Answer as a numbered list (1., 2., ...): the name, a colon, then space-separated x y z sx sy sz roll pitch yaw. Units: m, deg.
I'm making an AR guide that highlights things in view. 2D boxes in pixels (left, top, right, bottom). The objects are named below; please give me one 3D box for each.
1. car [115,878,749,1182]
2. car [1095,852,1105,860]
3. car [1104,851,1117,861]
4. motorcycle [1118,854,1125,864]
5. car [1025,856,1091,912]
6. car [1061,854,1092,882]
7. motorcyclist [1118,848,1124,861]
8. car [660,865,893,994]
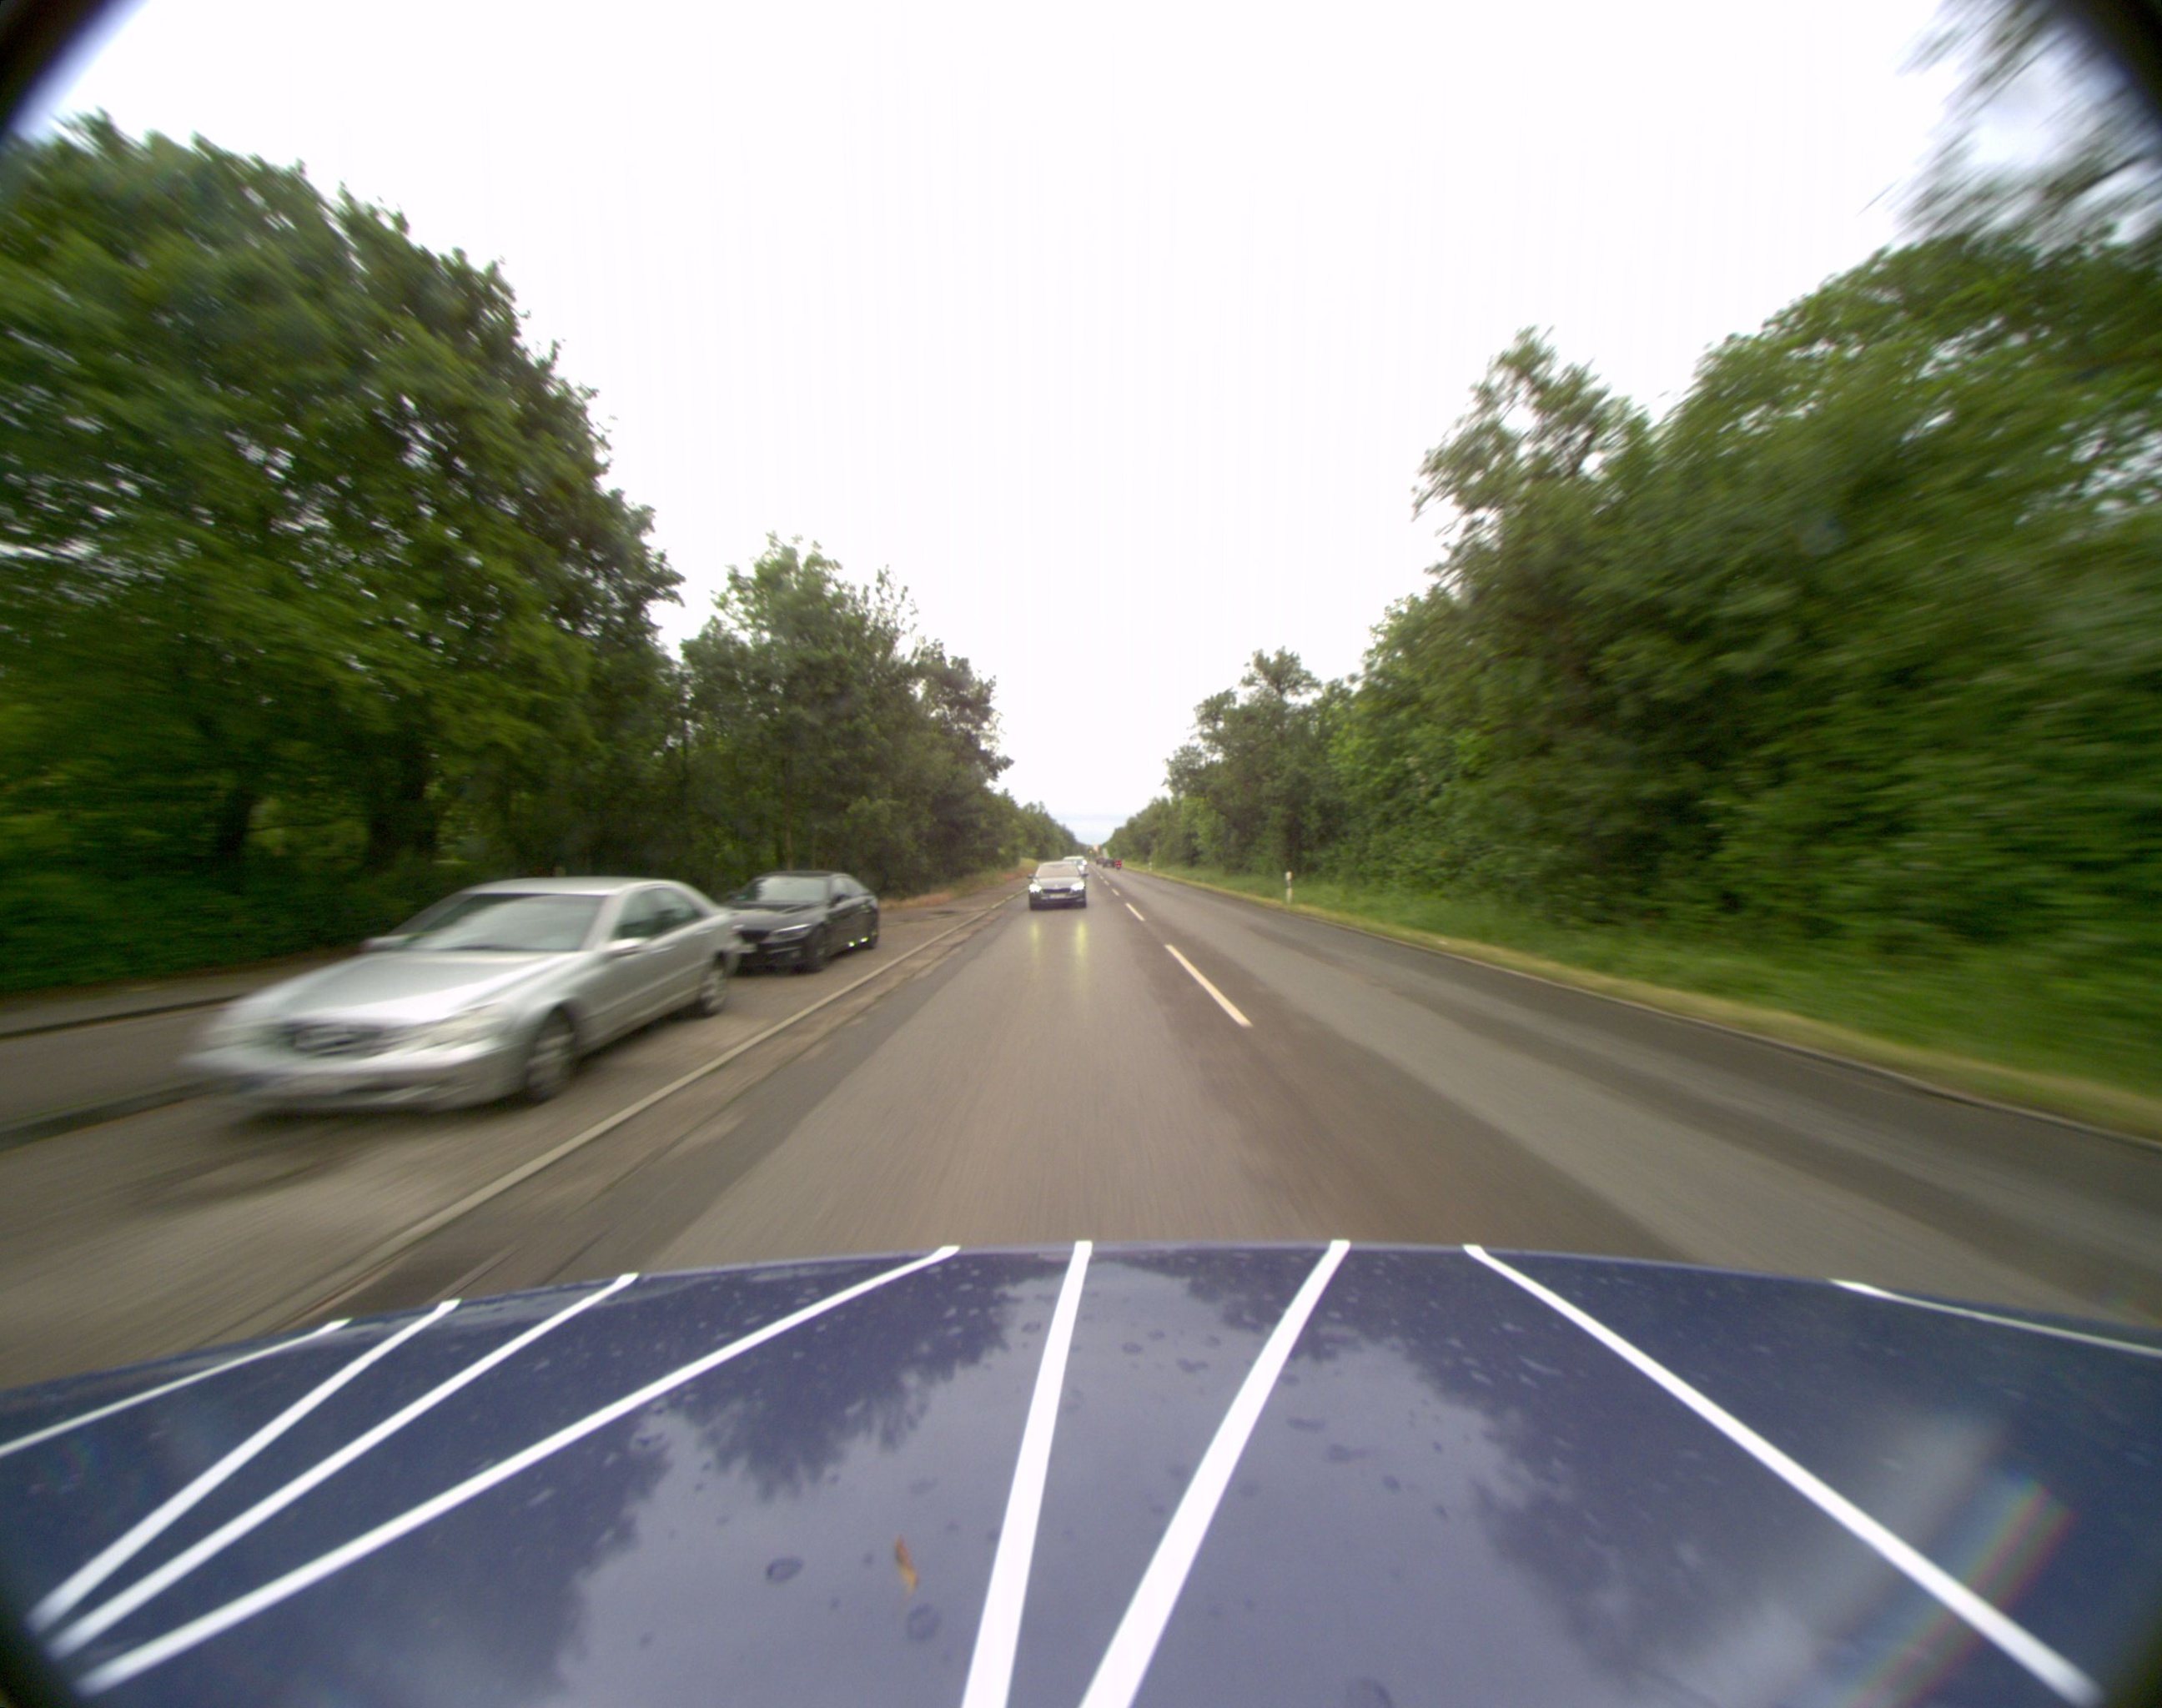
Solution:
1. car: -4.427 1.022 6.245 1.749 1.460 4.218 1 1 -3
2. car: 3.802 0.411 150.700 1.793 1.465 3.623 1 1 0
3. car: 4.263 0.267 111.391 1.793 1.465 3.623 1 1 0
4. motorcycle: 5.036 0.659 94.502 0.667 1.191 2.101 1 0 -1
5. car: -0.698 0.909 24.989 1.915 1.543 4.354 -3 1 0
6. car: -0.310 0.891 51.086 1.915 1.691 3.913 -3 1 0
7. motorcyclist: 4.988 0.094 94.416 0.697 1.644 0.667 -1 1 0
8. car: -4.502 1.007 12.126 1.810 1.501 4.666 1 1 0
